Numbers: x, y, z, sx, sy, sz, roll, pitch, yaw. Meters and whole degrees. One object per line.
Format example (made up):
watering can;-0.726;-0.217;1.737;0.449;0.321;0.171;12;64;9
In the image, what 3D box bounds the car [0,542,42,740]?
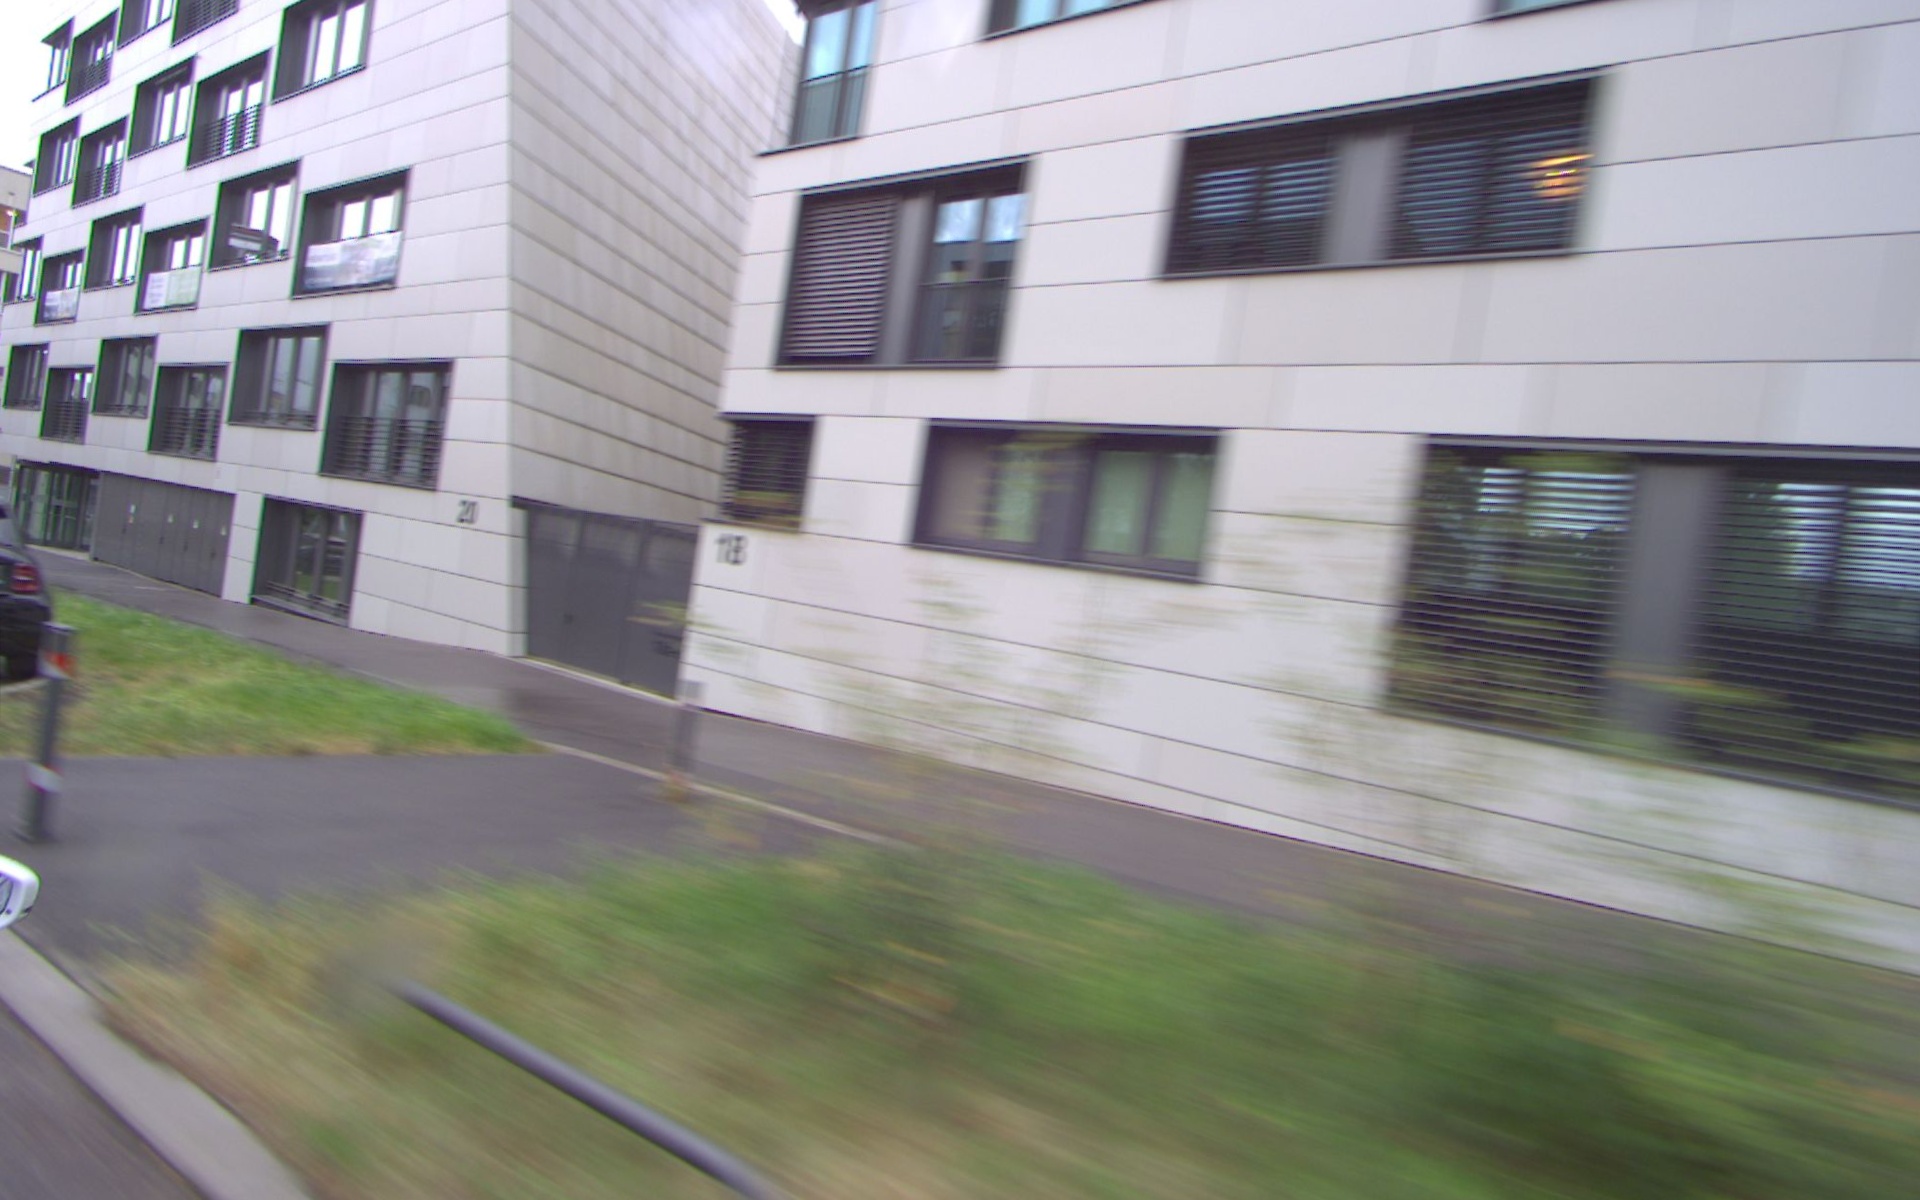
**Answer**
car;-9.525;0.104;8.768;3.604;1.496;1.547;9;0;38
